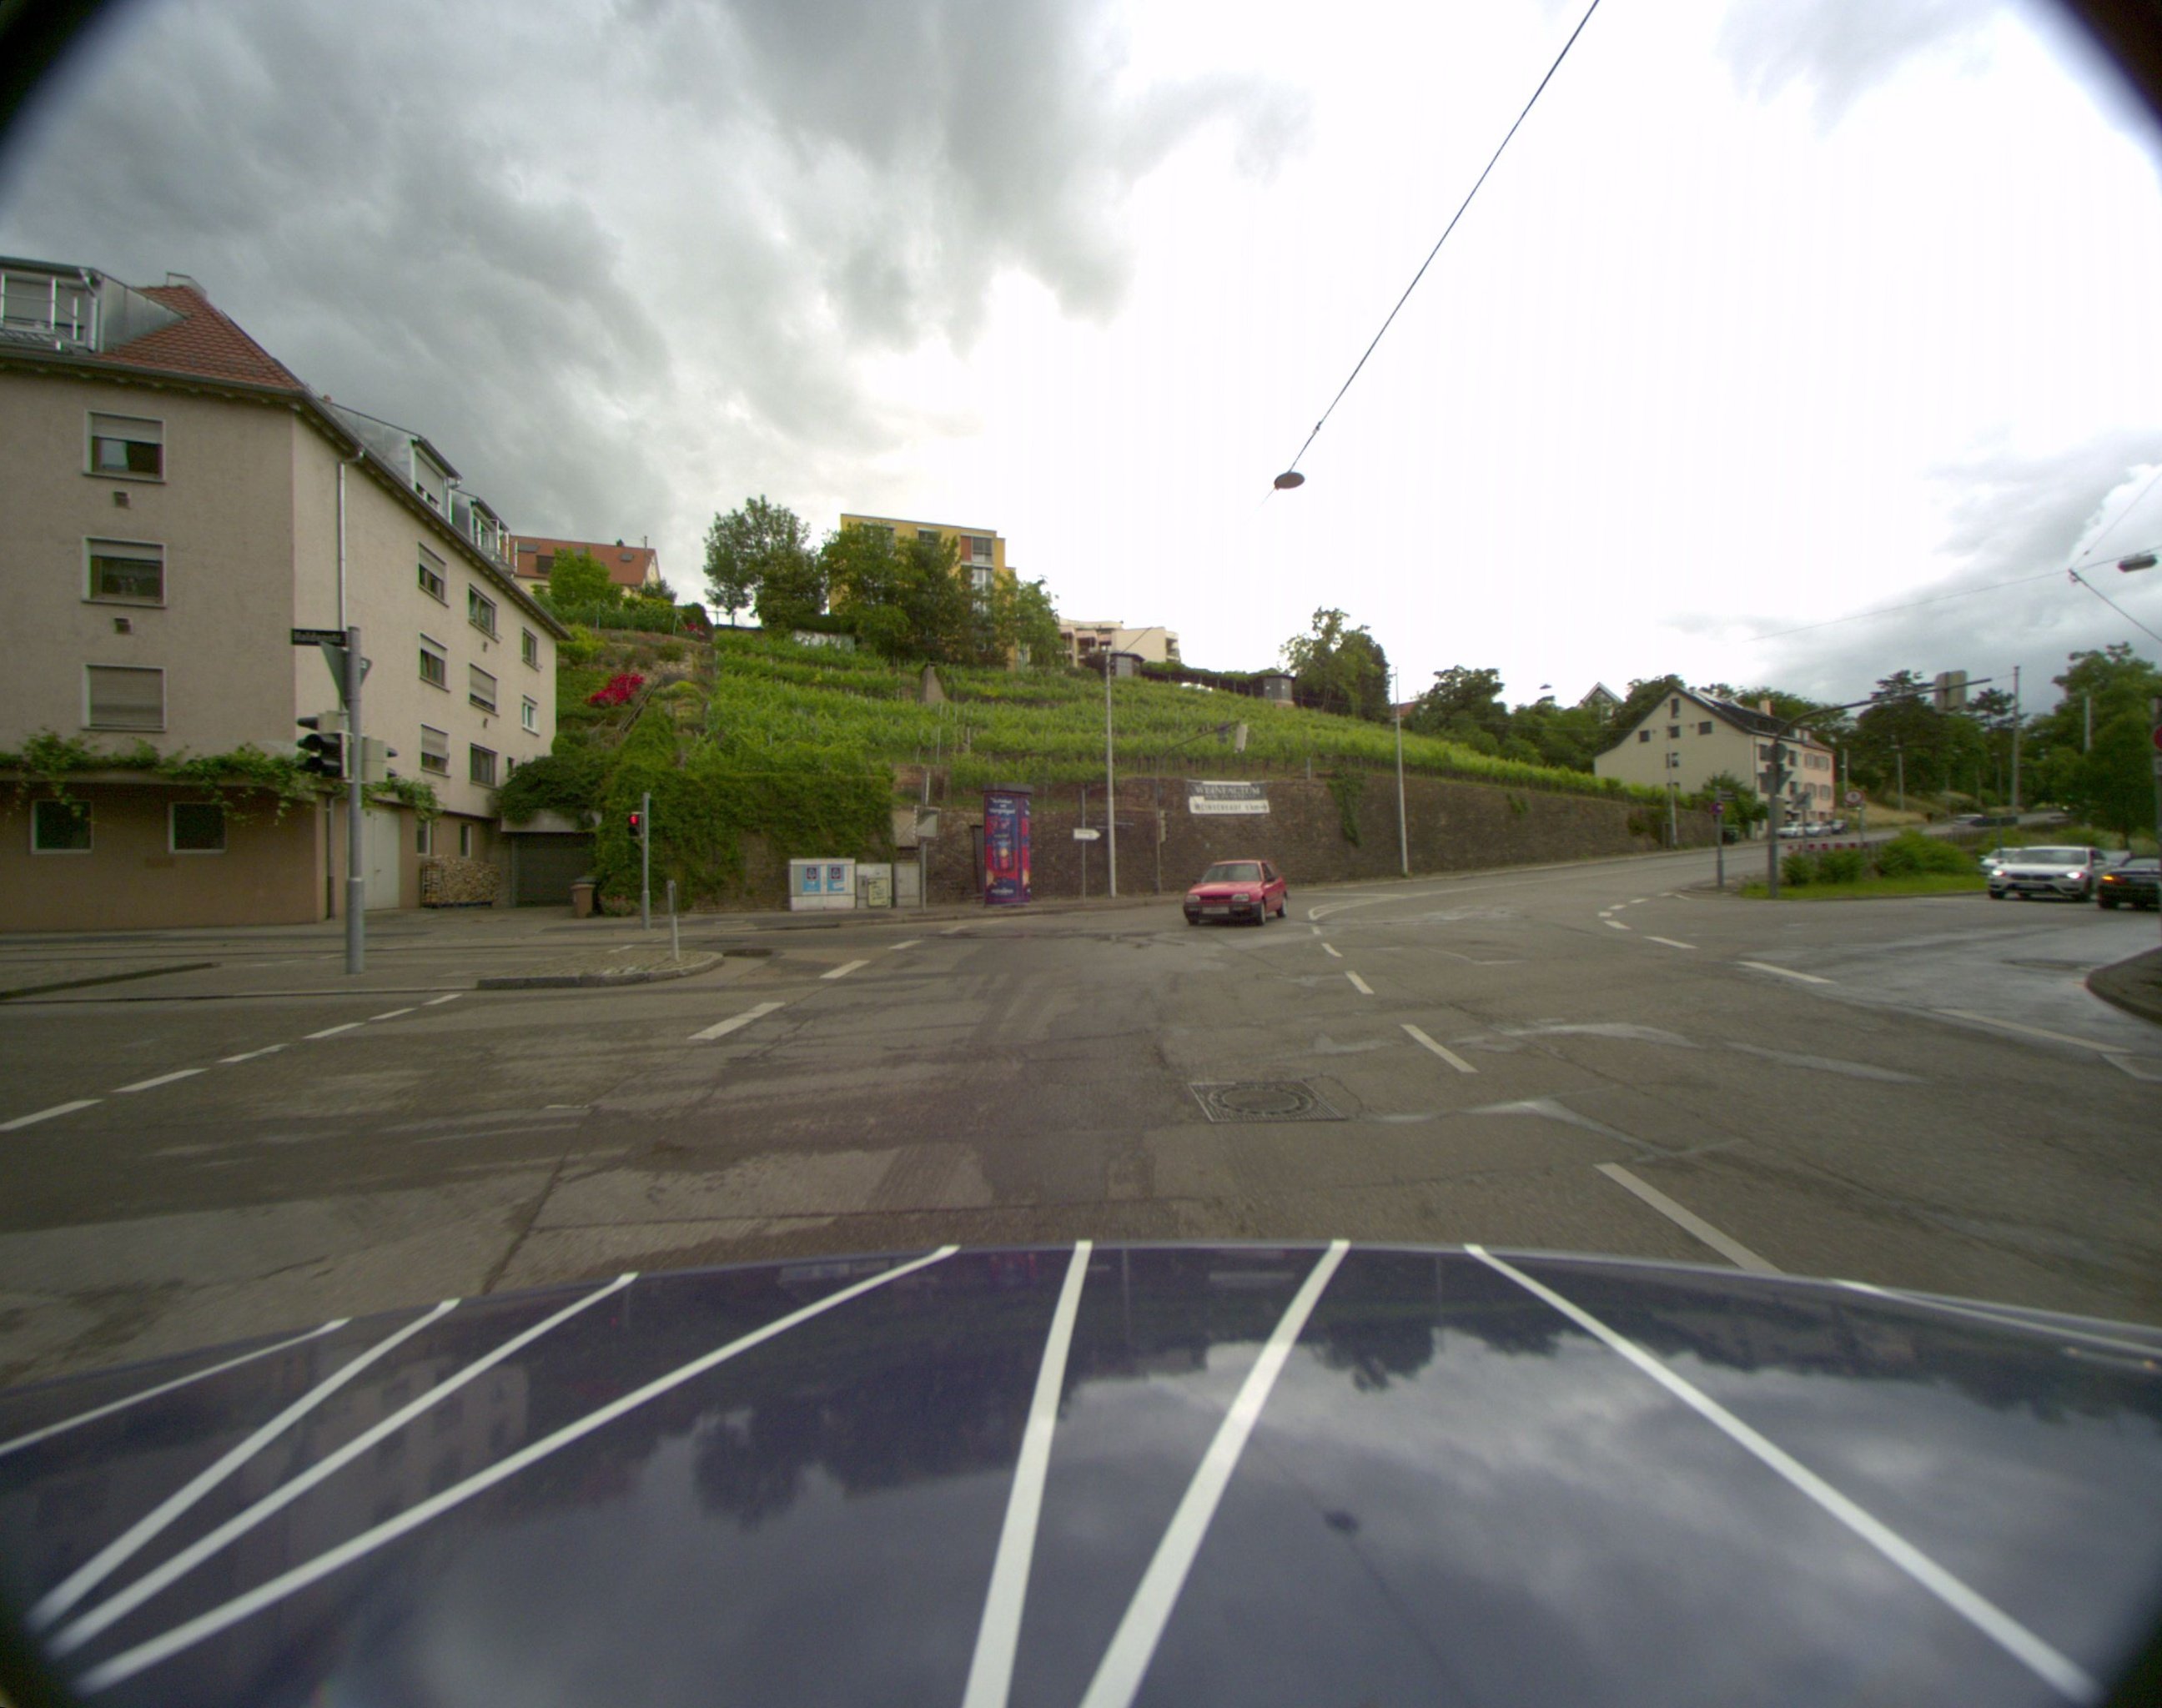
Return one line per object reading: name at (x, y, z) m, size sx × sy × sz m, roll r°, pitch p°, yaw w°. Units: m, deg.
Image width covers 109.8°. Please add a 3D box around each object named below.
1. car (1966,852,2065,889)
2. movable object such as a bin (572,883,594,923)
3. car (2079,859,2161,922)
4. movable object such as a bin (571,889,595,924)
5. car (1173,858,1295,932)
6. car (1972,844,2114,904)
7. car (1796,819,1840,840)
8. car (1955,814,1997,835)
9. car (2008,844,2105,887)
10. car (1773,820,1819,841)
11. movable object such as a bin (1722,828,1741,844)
car at (40.067, 0.670, 32.566) m, size 4.006 × 1.434 × 1.873 m, roll -1°, pitch 1°, yaw -27°
movable object such as a bin at (-13.759, 1.349, 20.992) m, size 0.473 × 1.076 × 0.407 m, roll -2°, pitch 1°, yaw -34°
car at (27.161, 0.869, 19.119) m, size 4.405 × 1.401 × 1.763 m, roll -1°, pitch 1°, yaw -28°
movable object such as a bin at (-13.472, 1.424, 20.553) m, size 0.496 × 0.906 × 0.344 m, roll -3°, pitch 0°, yaw -34°
car at (3.624, 0.862, 17.456) m, size 1.643 × 1.429 × 4.007 m, roll -2°, pitch 0°, yaw 28°
car at (29.308, 0.581, 23.131) m, size 4.429 × 1.505 × 1.830 m, roll -3°, pitch 0°, yaw -28°
car at (67.220, -2.226, 69.250) m, size 4.255 × 1.565 × 1.730 m, roll -4°, pitch -1°, yaw -30°
car at (69.057, -2.225, 58.616) m, size 3.650 × 1.459 × 1.670 m, roll 1°, pitch 0°, yaw -33°
car at (44.314, 0.470, 34.519) m, size 4.006 × 1.827 × 1.995 m, roll -1°, pitch 1°, yaw -27°
car at (62.773, -2.039, 66.700) m, size 4.061 × 1.565 × 1.796 m, roll -4°, pitch -1°, yaw -30°
movable object such as a bin at (49.064, -1.378, 57.344) m, size 0.876 × 1.120 × 0.810 m, roll -3°, pitch 0°, yaw -31°
